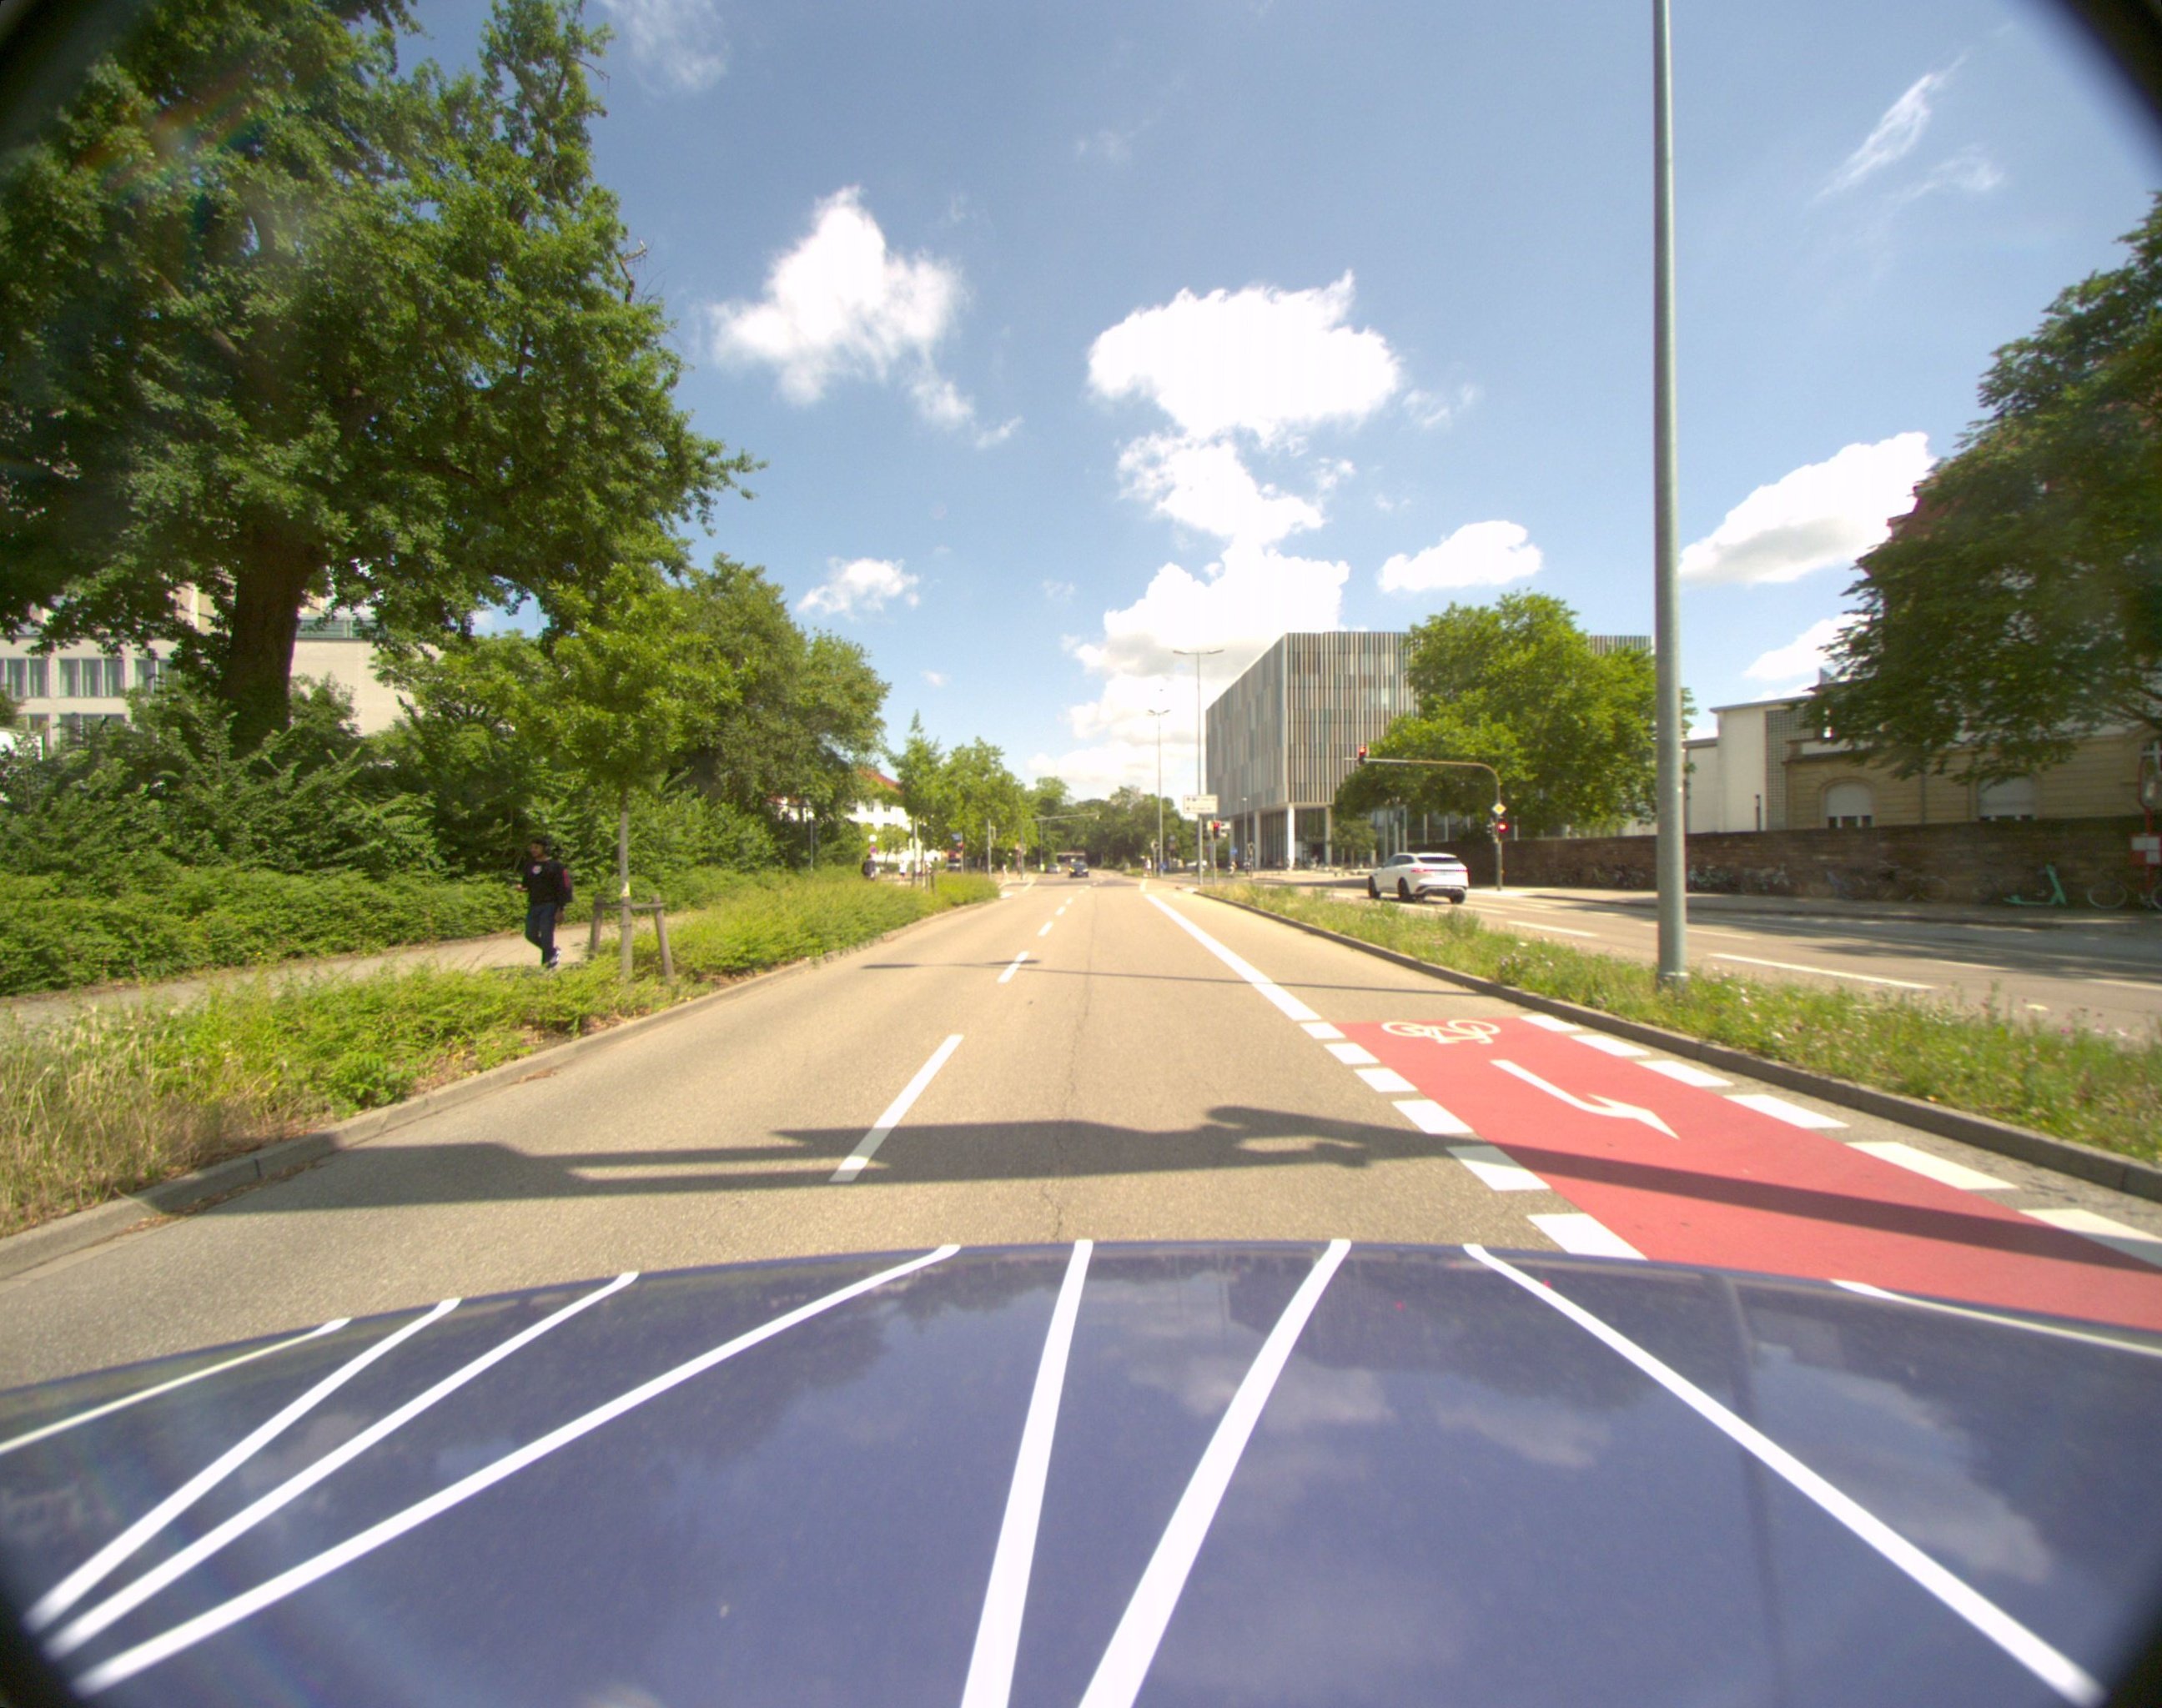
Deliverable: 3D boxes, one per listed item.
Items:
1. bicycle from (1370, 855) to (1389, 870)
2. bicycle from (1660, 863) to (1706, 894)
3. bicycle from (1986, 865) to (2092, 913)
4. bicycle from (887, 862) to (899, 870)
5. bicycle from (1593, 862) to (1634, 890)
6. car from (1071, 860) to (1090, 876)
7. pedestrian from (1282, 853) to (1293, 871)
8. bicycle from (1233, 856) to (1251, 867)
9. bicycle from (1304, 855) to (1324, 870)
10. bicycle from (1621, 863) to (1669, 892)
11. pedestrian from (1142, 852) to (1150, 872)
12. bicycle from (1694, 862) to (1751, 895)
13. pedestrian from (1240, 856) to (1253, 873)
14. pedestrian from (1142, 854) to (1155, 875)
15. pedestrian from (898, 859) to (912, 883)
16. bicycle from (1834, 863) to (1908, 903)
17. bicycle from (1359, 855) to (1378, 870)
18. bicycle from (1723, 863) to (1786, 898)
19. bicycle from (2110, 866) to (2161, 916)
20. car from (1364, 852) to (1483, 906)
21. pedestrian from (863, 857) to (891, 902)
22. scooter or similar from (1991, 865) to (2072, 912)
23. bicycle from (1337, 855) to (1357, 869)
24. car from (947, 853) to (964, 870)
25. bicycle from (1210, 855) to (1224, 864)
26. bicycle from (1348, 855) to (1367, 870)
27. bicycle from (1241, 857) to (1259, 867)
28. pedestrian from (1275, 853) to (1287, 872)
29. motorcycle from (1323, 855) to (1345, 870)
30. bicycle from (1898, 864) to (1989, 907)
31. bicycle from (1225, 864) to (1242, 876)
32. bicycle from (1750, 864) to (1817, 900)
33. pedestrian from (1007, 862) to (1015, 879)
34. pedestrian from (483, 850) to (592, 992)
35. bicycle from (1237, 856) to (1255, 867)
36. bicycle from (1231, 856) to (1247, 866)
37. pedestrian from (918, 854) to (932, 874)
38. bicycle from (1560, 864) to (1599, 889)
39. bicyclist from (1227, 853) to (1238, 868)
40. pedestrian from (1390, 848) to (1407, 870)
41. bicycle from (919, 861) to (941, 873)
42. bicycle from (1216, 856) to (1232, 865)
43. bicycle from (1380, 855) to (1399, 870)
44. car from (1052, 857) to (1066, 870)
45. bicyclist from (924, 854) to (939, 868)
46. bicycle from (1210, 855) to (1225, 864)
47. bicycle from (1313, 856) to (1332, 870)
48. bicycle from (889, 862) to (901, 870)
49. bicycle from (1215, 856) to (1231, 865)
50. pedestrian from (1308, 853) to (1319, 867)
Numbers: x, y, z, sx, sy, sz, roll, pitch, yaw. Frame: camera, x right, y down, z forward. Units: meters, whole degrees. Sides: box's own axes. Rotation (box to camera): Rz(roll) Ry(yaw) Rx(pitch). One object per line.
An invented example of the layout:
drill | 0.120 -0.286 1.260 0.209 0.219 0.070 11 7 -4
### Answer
bicycle | 32.049 0.900 81.616 0.997 1.543 3.422 -1 0 37
bicycle | 23.204 0.914 29.304 0.413 1.145 1.593 -1 0 -5
bicycle | 24.459 0.873 19.429 0.534 1.145 1.591 -1 0 -21
bicycle | -23.430 1.487 94.686 1.428 0.945 0.352 -1 0 -5
bicycle | 22.784 0.936 32.551 0.500 1.145 1.593 -1 0 -8
car | -0.077 1.439 78.451 1.846 1.593 3.999 -1 0 -2
pedestrian | 21.512 0.842 79.055 0.969 1.914 0.880 -1 1 27
bicycle | 23.879 1.127 112.440 2.511 1.486 0.621 -1 0 1
bicycle | 26.721 0.956 87.131 0.808 1.634 3.422 0 0 42
bicycle | 22.930 0.936 30.918 0.623 1.145 1.593 -1 0 -8
pedestrian | 5.893 0.720 68.449 0.646 1.815 0.689 -1 0 1
bicycle | 23.306 0.872 27.625 0.403 1.145 1.591 -1 0 -22
pedestrian | 16.589 1.031 76.102 0.972 1.619 0.878 -1 0 -12
pedestrian | 6.002 0.924 67.480 1.108 1.914 0.972 -1 0 4
pedestrian | -13.649 1.324 59.063 0.878 1.861 0.971 -1 0 -4
bicycle | 23.921 0.859 23.044 0.403 1.145 1.593 -1 0 -11
bicycle | 31.228 0.898 82.543 0.997 1.543 3.422 -1 0 37
bicycle | 23.392 0.905 26.430 0.403 1.145 1.590 -1 0 -32
bicycle | 24.865 0.848 17.346 0.433 1.136 1.593 -1 0 -11
car | 11.546 0.782 26.043 2.076 1.657 4.776 -1 0 2
pedestrian | -7.898 0.982 29.448 0.815 1.711 0.929 -1 1 2
scooter or similar | 23.826 0.845 19.072 0.433 1.145 1.191 -1 0 -20
bicycle | 29.562 0.897 84.469 1.049 1.543 3.422 -1 0 37
car | -15.677 0.929 94.906 2.000 2.042 4.226 -1 0 -8
bicycle | 23.446 0.962 131.232 2.302 1.486 0.657 -1 0 1
bicycle | 30.301 0.899 83.226 0.997 1.543 3.422 -1 0 37
bicycle | 24.455 1.145 109.755 2.509 1.486 0.730 -1 0 11
pedestrian | 20.220 0.857 76.739 0.969 1.914 0.880 -1 1 29
motorcycle | 28.447 0.929 85.439 3.305 1.630 0.969 0 0 -45
bicycle | 23.986 0.862 21.171 0.534 1.145 1.591 -1 0 -21
bicycle | 13.179 1.404 65.592 0.645 0.992 2.168 -1 0 32
bicycle | 23.454 0.914 25.382 0.403 1.145 1.590 -1 0 -32
pedestrian | -6.273 1.472 67.906 0.591 1.495 0.416 -1 1 -18
pedestrian | -6.815 0.808 9.568 0.718 1.711 0.837 -1 1 2
bicycle | 24.626 1.111 113.335 2.511 1.486 0.621 -1 0 1
bicycle | 24.042 1.098 115.535 2.200 1.486 0.621 -1 0 1
pedestrian | -14.908 0.958 72.602 1.030 1.914 0.973 -1 0 10
bicycle | 22.516 1.001 34.338 0.573 1.092 1.593 -1 0 -8
bicyclist | 13.035 0.562 65.418 0.617 1.219 0.835 -1 0 33
pedestrian | 28.711 0.438 68.733 1.109 1.914 0.971 -1 0 -9
bicycle | -15.857 1.370 79.930 2.159 1.244 0.887 -1 0 30
bicycle | 23.434 1.024 124.438 2.511 1.486 0.621 -1 0 1
bicycle | 32.718 0.903 80.428 0.997 1.543 3.422 -1 0 37
car | -3.264 1.353 109.986 1.913 1.772 3.999 -1 0 -3
bicyclist | -15.697 0.710 79.836 1.074 1.436 0.974 -1 0 30
bicycle | 23.345 0.974 129.946 2.511 1.486 0.621 -1 0 1
bicycle | 27.485 1.037 86.395 2.693 1.485 0.930 -1 0 -44
bicycle | -23.501 1.497 95.777 1.428 0.945 0.352 -1 0 -5
bicycle | 23.530 1.012 125.550 2.511 1.486 0.621 -1 0 1
pedestrian | 28.760 0.753 93.942 1.011 1.697 1.213 -1 0 35
